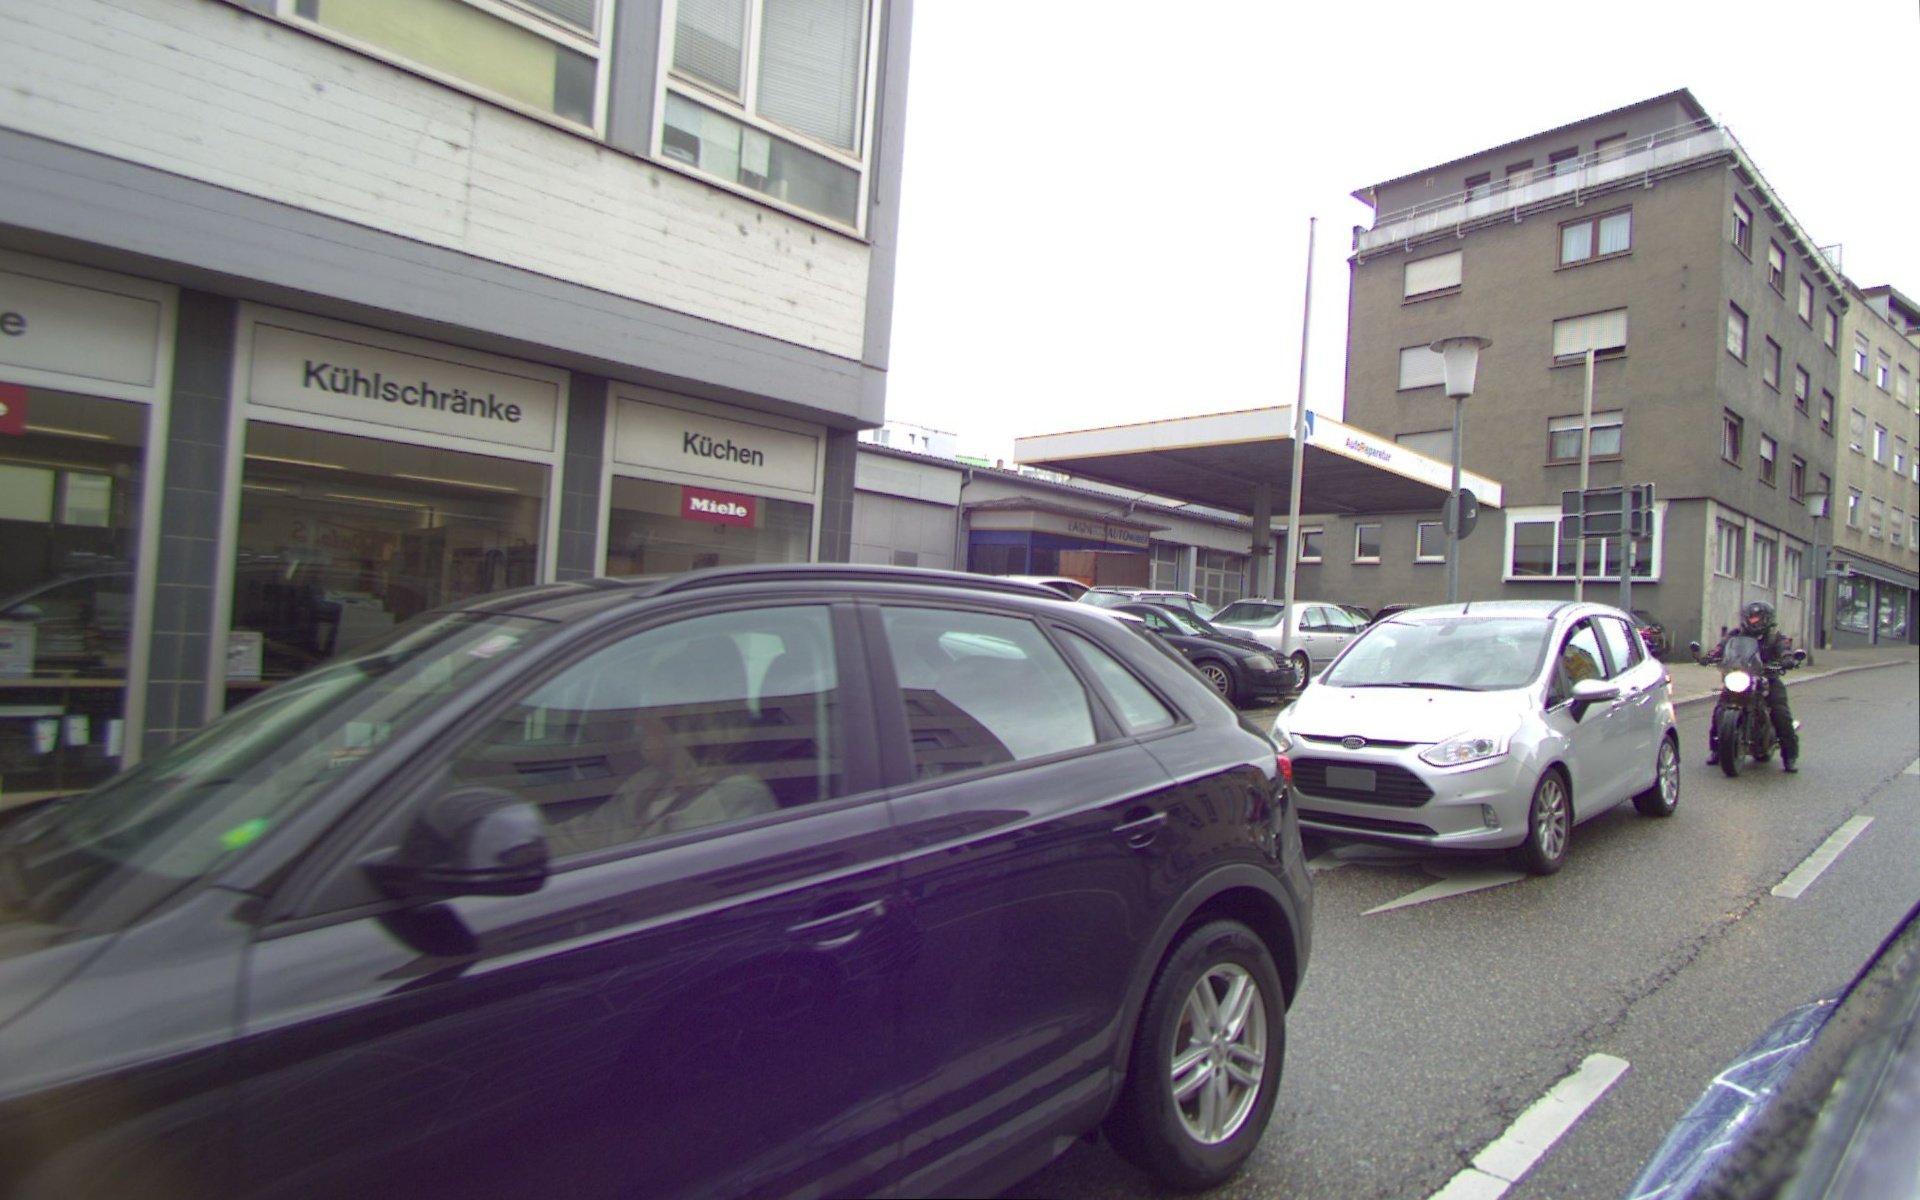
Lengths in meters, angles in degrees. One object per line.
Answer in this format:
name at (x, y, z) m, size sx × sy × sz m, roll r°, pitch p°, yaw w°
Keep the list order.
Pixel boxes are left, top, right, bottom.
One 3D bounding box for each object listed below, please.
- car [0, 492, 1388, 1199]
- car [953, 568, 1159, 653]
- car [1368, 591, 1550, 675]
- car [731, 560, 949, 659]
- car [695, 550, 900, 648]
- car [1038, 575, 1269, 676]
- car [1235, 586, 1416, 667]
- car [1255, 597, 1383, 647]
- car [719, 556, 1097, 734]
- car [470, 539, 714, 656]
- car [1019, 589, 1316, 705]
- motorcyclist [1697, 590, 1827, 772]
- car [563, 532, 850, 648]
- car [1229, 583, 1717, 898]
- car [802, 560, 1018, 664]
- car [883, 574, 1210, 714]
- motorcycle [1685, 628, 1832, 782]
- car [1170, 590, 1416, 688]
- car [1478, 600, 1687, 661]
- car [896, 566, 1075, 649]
car at (-0.822, 0.692, 2.438) m, size 4.129 × 1.580 × 1.825 m, roll 0°, pitch -1°, yaw -42°
car at (2.090, 0.192, 21.332) m, size 4.340 × 1.620 × 1.792 m, roll 1°, pitch 1°, yaw -40°
car at (10.424, 0.628, 21.029) m, size 4.358 × 1.531 × 1.792 m, roll 1°, pitch 1°, yaw -40°
car at (-2.294, 0.156, 19.826) m, size 3.879 × 1.752 × 1.792 m, roll 1°, pitch 1°, yaw -40°
car at (-3.451, -0.032, 21.918) m, size 4.032 × 1.934 × 1.792 m, roll 1°, pitch 1°, yaw -40°
car at (3.705, 0.480, 18.974) m, size 4.411 × 1.563 × 1.793 m, roll 3°, pitch 3°, yaw -40°
car at (8.266, 0.604, 22.728) m, size 4.340 × 1.530 × 1.793 m, roll 3°, pitch 3°, yaw -40°
car at (12.344, 0.740, 34.930) m, size 1.761 × 1.472 × 3.753 m, roll 3°, pitch 0°, yaw -38°
car at (-0.664, 0.384, 11.545) m, size 3.973 × 1.468 × 1.778 m, roll 6°, pitch 3°, yaw 33°
car at (-6.771, -0.049, 18.816) m, size 3.879 × 1.934 × 1.792 m, roll 1°, pitch 1°, yaw -40°
car at (2.990, 0.602, 14.930) m, size 3.975 × 1.418 × 1.650 m, roll 2°, pitch 1°, yaw 36°
motorcyclist at (7.604, 0.724, 9.594) m, size 0.844 × 1.610 × 0.947 m, roll -2°, pitch -2°, yaw 44°
car at (-3.844, -0.166, 15.640) m, size 3.879 × 1.541 × 1.793 m, roll 1°, pitch 3°, yaw -40°
car at (3.829, 0.741, 7.182) m, size 4.182 × 1.561 × 1.827 m, roll 1°, pitch -2°, yaw -45°
car at (-0.861, 0.189, 18.209) m, size 3.456 × 1.619 × 1.793 m, roll 1°, pitch 3°, yaw -40°
car at (1.084, 0.468, 13.389) m, size 3.973 × 1.549 × 1.742 m, roll 2°, pitch 1°, yaw 34°
motorcycle at (7.596, 0.910, 9.580) m, size 0.844 × 1.241 × 2.335 m, roll -2°, pitch -2°, yaw 44°
car at (5.798, 0.600, 17.378) m, size 4.531 × 1.433 × 1.793 m, roll 1°, pitch 2°, yaw -38°
car at (17.117, 0.797, 28.021) m, size 1.963 × 1.523 × 4.534 m, roll 1°, pitch -1°, yaw -36°
car at (0.635, 0.151, 23.157) m, size 3.879 × 1.752 × 1.792 m, roll 1°, pitch 1°, yaw -40°
